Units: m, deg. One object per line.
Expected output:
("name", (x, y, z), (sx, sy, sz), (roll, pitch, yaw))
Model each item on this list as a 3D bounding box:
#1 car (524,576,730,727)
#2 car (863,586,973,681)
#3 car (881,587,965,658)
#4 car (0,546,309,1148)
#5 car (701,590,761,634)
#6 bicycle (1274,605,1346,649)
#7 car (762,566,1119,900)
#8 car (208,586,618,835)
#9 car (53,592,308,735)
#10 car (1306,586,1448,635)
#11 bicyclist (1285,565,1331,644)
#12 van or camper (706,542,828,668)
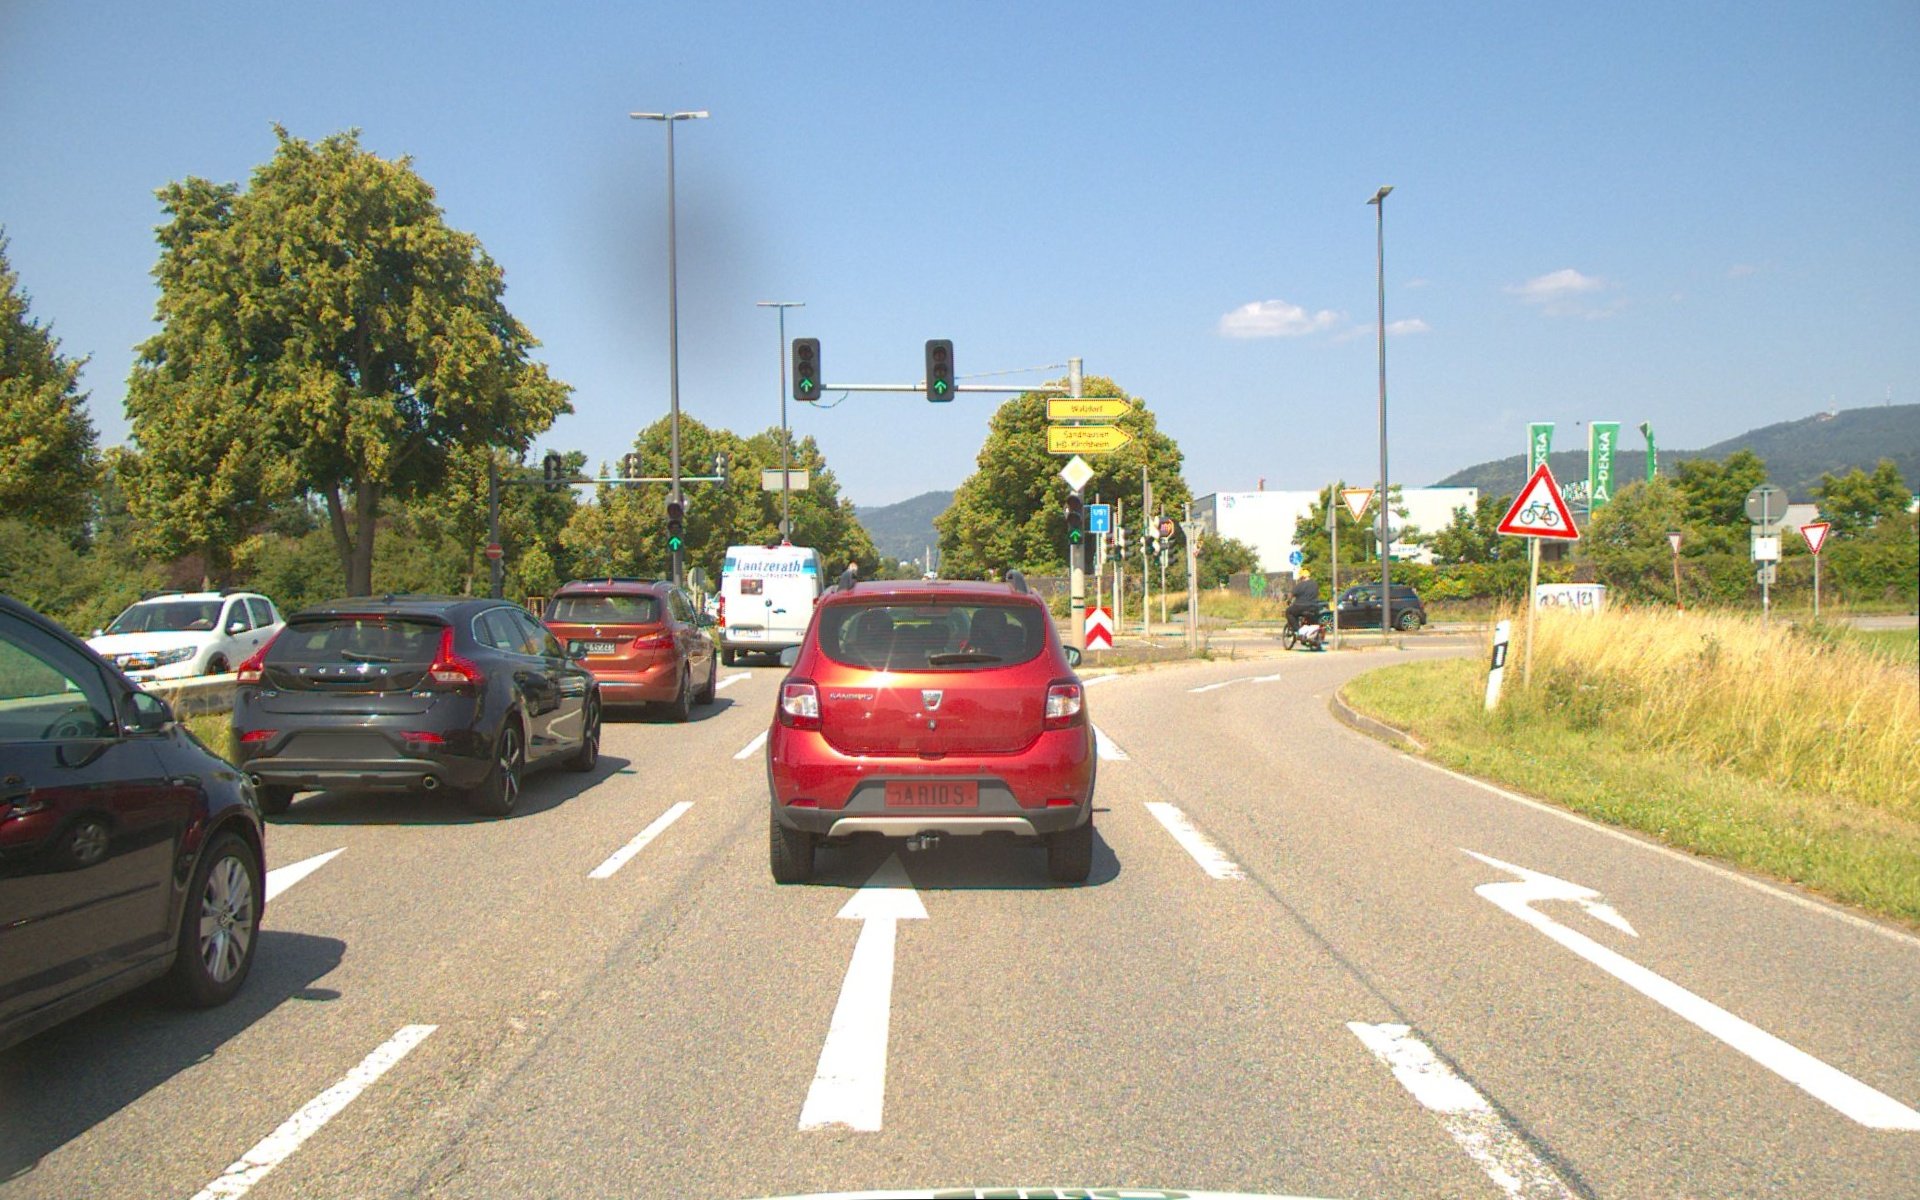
("car", (-3.878, 0.546, 19.869), (1.689, 1.628, 3.955), (0, 0, 0))
("car", (-0.651, 0.514, 27.845), (1.713, 1.483, 3.677), (0, 1, 1))
("car", (-0.773, 0.451, 36.483), (1.713, 1.483, 3.677), (0, 1, 1))
("car", (-3.399, 0.650, 4.546), (1.688, 1.603, 3.892), (0, 1, 0))
("car", (-9.399, 0.461, 68.192), (1.953, 1.699, 3.999), (-1, 1, -2))
("bicycle", (8.126, 0.615, 38.555), (0.747, 0.931, 2.775), (-1, 1, -8))
("car", (-0.073, 0.628, 9.805), (1.713, 1.603, 3.677), (0, 0, 1))
("car", (-3.723, 0.655, 12.001), (1.667, 1.467, 3.955), (1, 1, 0))
("car", (-10.172, 0.748, 21.938), (1.711, 1.667, 4.131), (-1, 0, -5))
("car", (12.478, 0.330, 49.711), (3.902, 1.350, 1.807), (-2, -1, 6))
("bicyclist", (8.104, 0.093, 38.528), (0.787, 1.802, 0.807), (-1, 0, -8))
("van or camper", (-3.794, 0.074, 33.371), (2.136, 2.343, 4.823), (0, 0, -3))
